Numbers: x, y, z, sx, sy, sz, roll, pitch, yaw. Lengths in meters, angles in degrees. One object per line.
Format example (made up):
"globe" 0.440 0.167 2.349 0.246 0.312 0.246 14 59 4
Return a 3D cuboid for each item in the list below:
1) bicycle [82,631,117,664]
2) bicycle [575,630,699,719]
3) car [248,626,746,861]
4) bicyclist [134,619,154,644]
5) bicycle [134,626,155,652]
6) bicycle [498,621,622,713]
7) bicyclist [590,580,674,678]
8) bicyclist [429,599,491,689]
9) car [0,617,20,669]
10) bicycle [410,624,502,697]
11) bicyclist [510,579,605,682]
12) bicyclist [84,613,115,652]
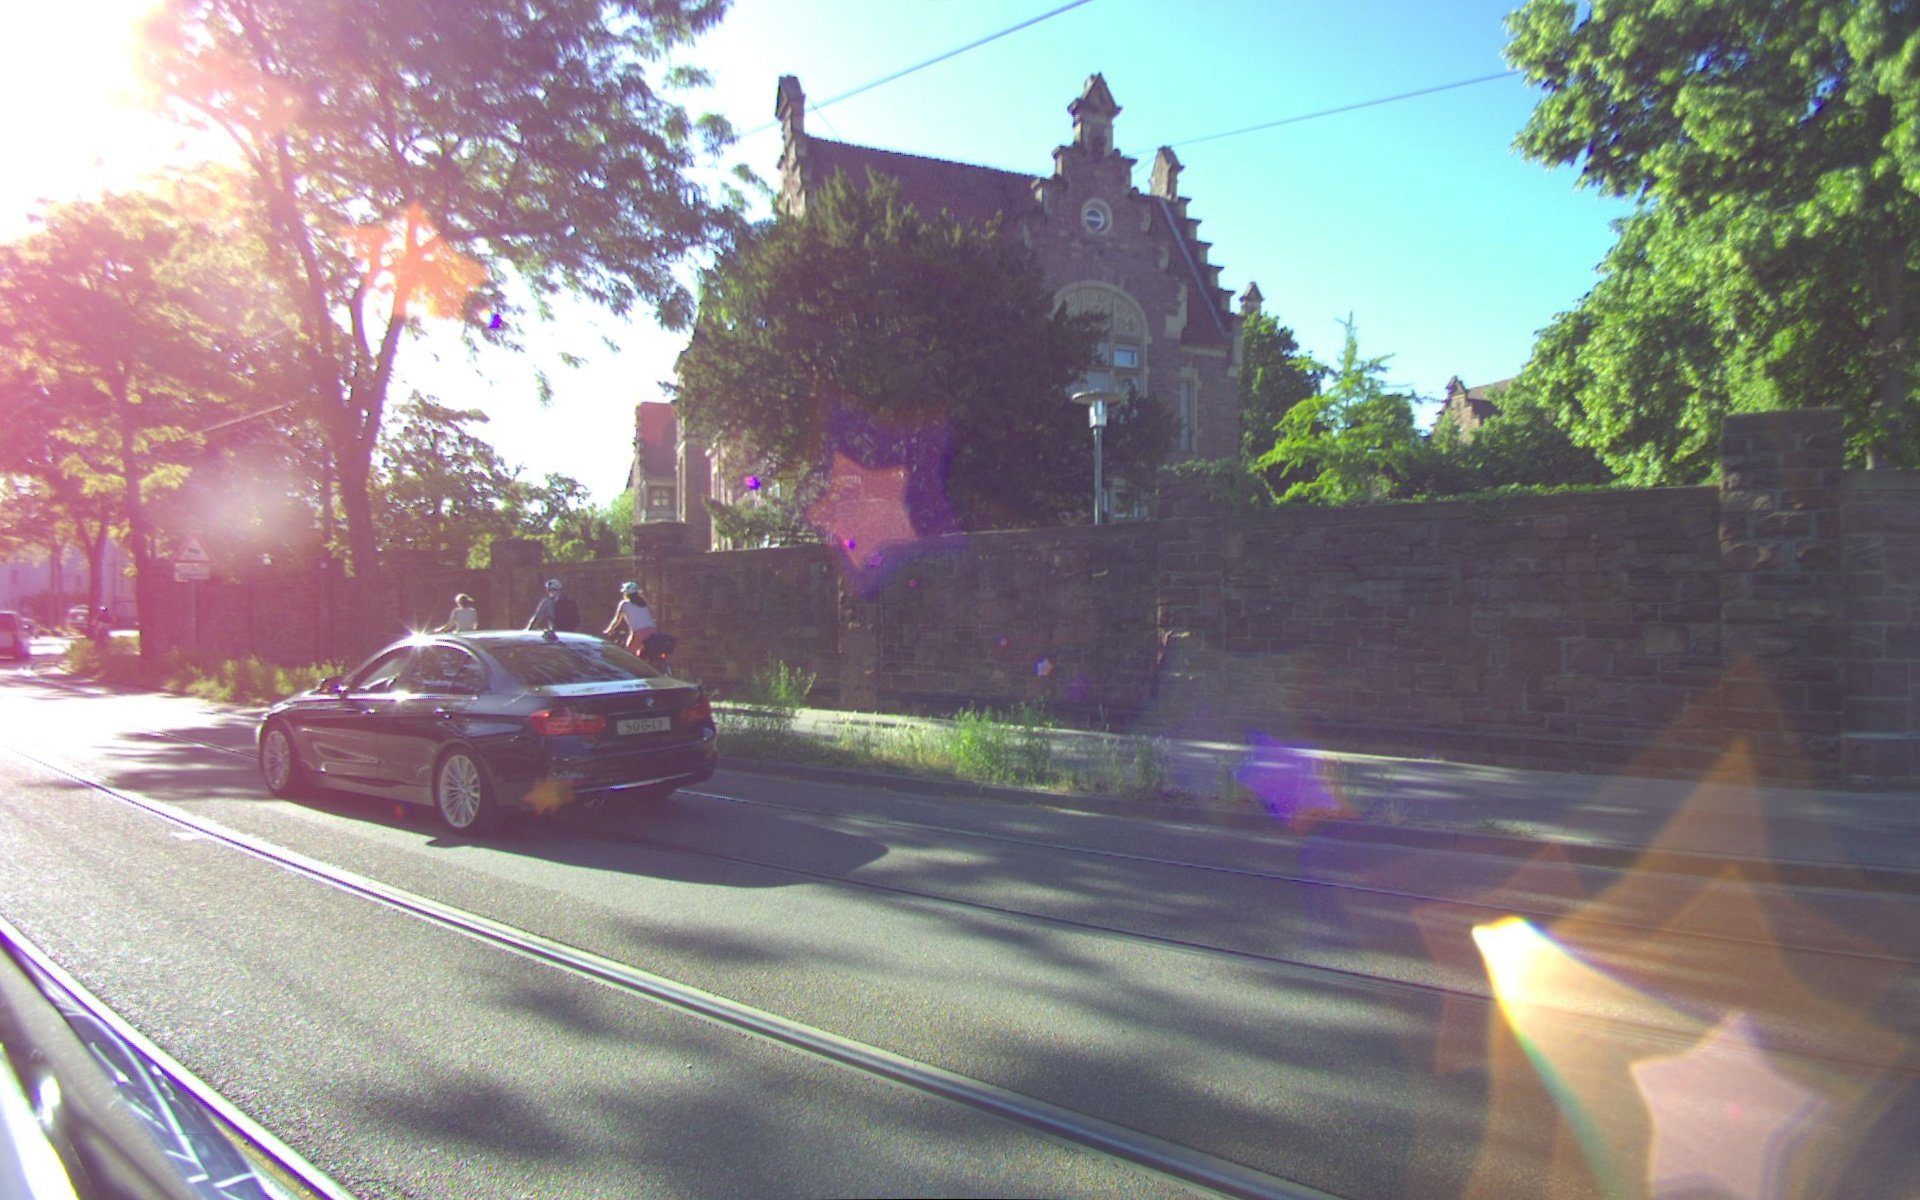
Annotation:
"bicycle" -29.866 1.639 35.131 1.735 1.086 0.676 -1 0 41
"bicycle" -4.814 1.061 15.015 2.086 1.200 0.724 -1 0 39
"car" -3.868 0.942 8.205 4.248 1.433 1.721 -1 -1 34
"bicyclist" -37.758 1.445 46.844 0.674 1.121 0.695 -1 0 -42
"bicycle" -37.838 1.794 46.936 0.674 1.121 1.739 -1 0 -41
"bicycle" -5.731 0.910 14.433 2.102 1.200 0.764 -1 0 41
"bicyclist" -4.893 0.414 15.073 1.060 1.401 0.724 -1 0 39
"bicyclist" -8.835 0.759 17.882 0.751 1.546 0.734 -1 0 41
"car" -35.713 1.541 37.078 1.806 1.824 4.003 1 -1 -44
"bicycle" -8.989 1.037 18.015 2.087 1.200 0.737 -1 0 41
"bicyclist" -5.761 0.412 14.456 1.271 1.401 0.758 -1 0 41
"bicyclist" -29.858 1.118 35.118 0.871 1.294 0.676 -1 0 41
